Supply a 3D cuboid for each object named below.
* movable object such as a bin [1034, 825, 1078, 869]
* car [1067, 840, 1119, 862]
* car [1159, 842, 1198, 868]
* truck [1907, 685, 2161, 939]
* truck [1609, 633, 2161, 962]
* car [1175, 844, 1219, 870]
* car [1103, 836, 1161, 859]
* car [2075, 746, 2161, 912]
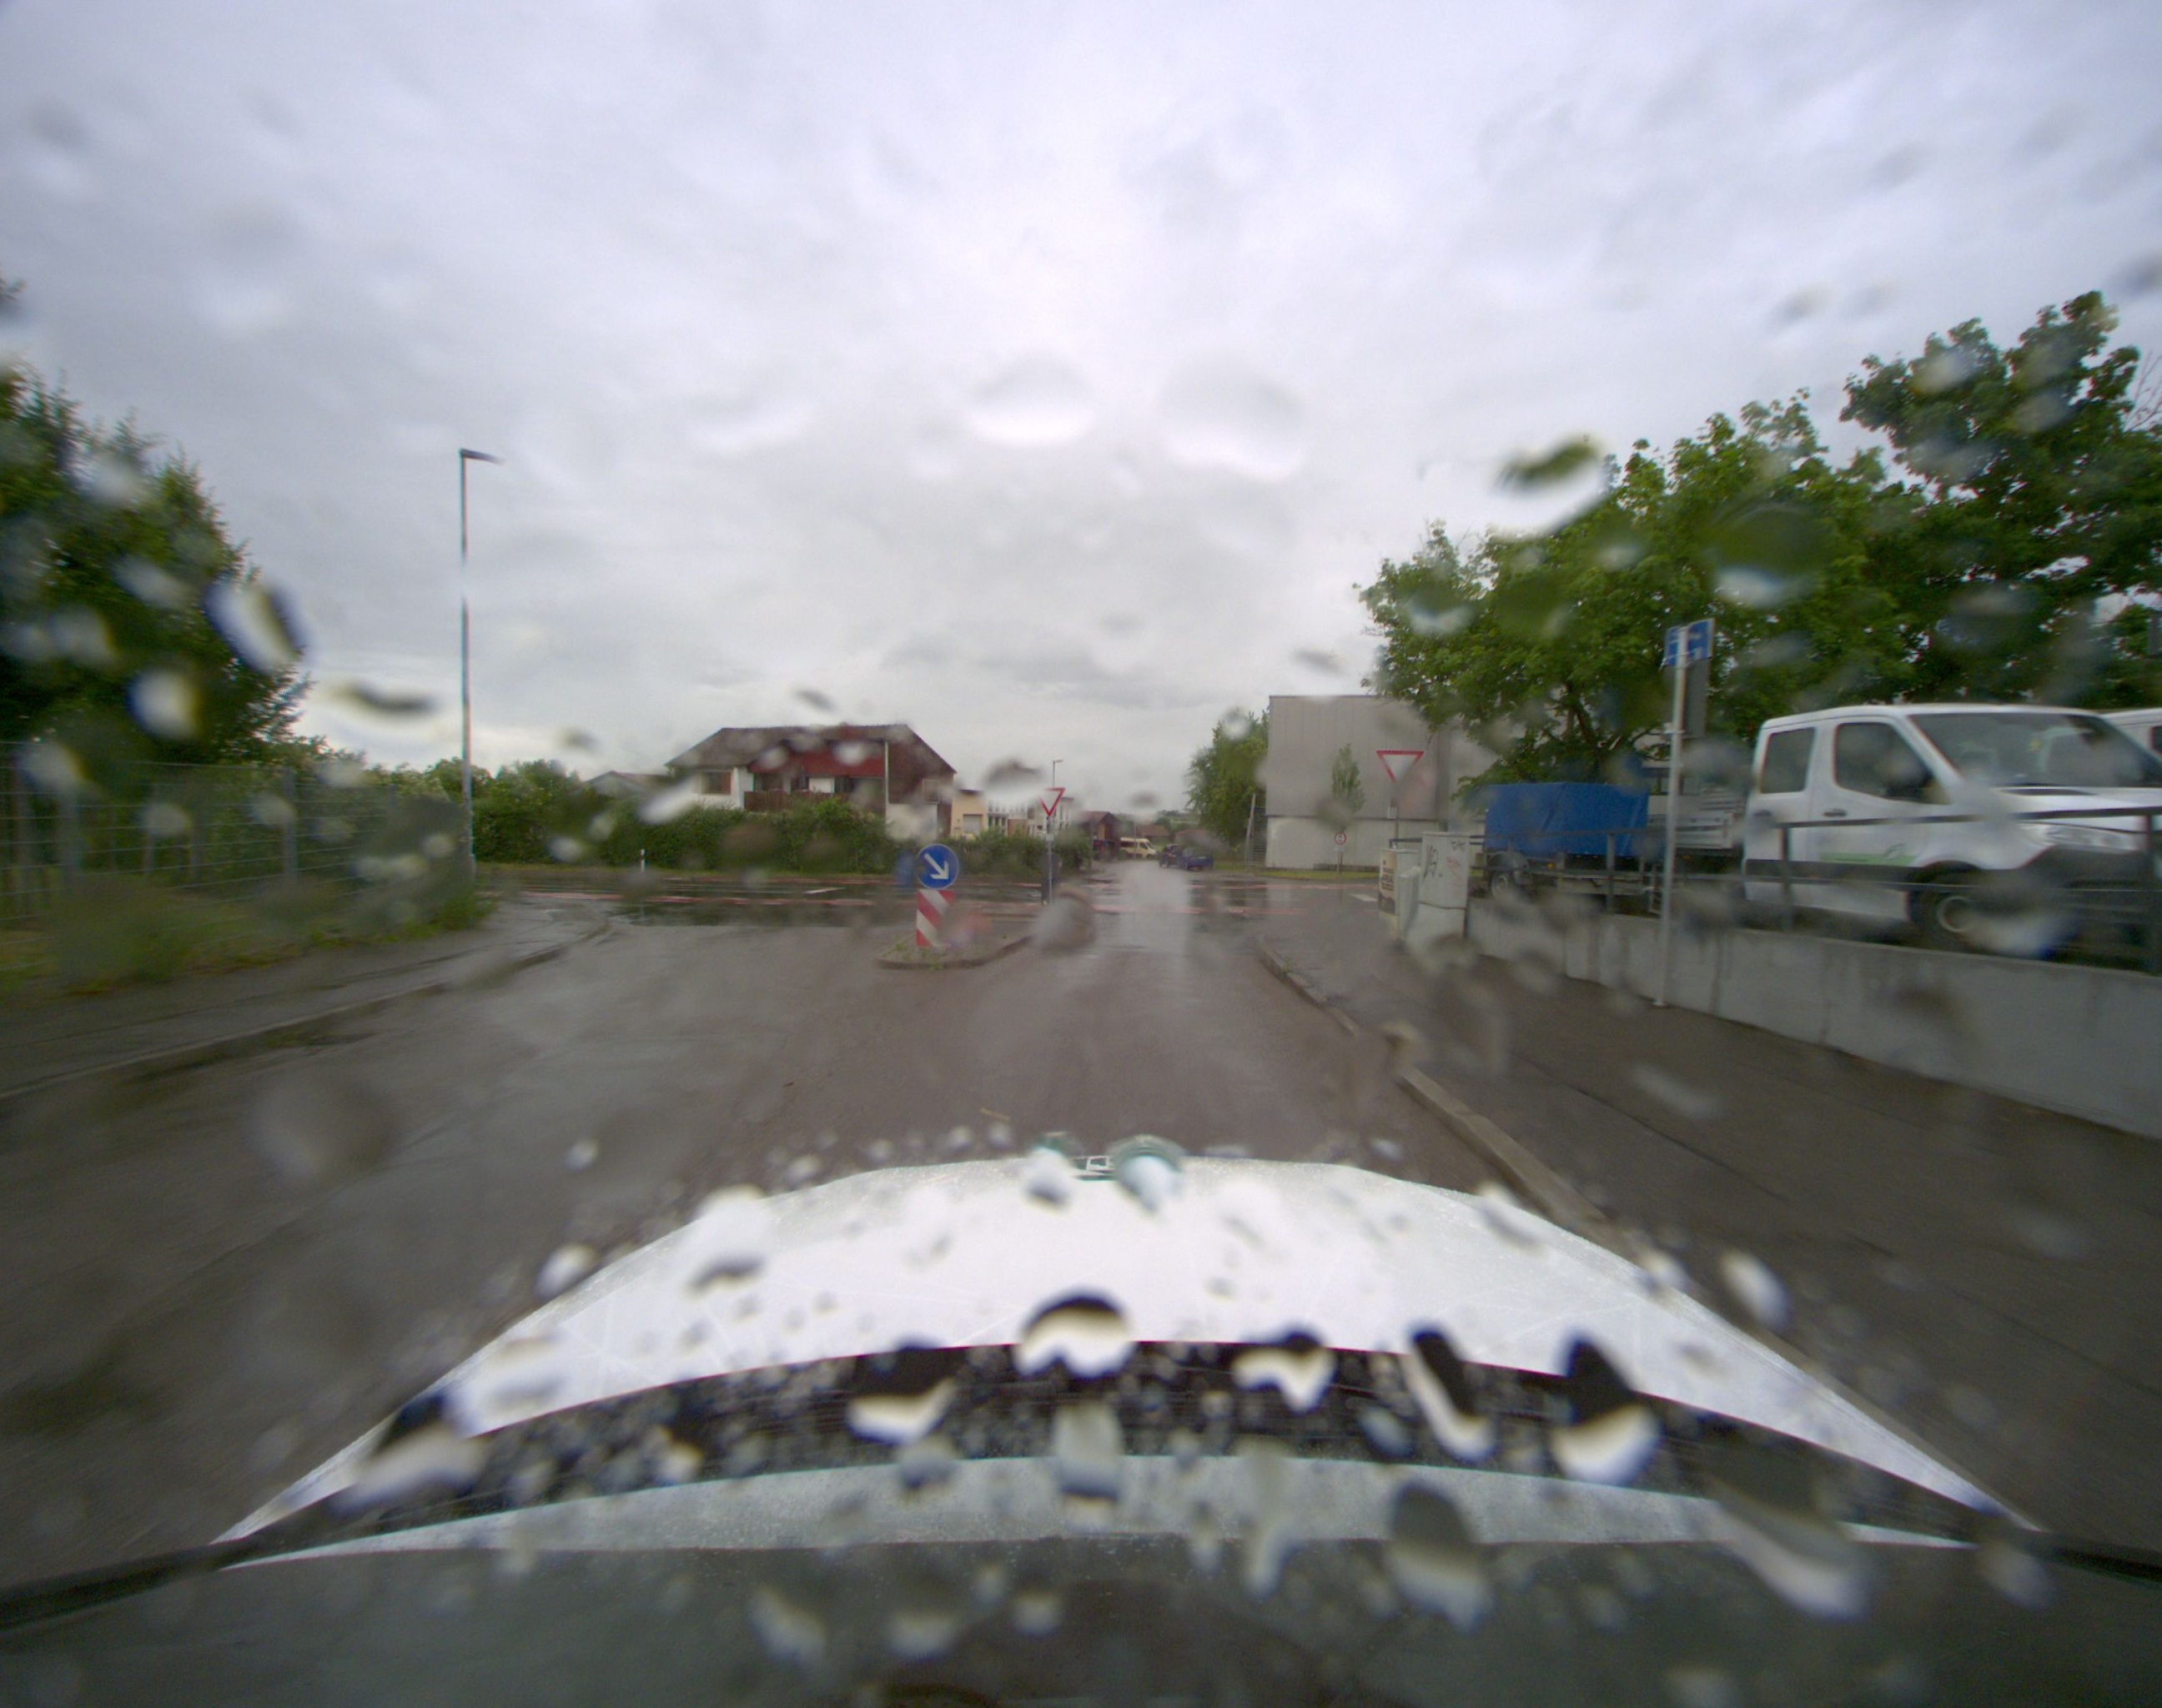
[{"bbox_3d":[-1.468,-0.435,48.958,1.720,2.556,3.353,1,0,15],"label":"movable object such as a bin"},{"bbox_3d":[1.033,-0.283,72.252,4.355,1.905,2.012,1,0,43],"label":"car"},{"bbox_3d":[7.196,0.035,60.600,2.070,1.835,4.465,1,0,-4],"label":"car"},{"bbox_3d":[11.090,-0.373,7.571,2.231,2.342,4.845,1,0,6],"label":"truck"},{"bbox_3d":[8.124,-0.381,8.274,2.097,2.214,5.657,1,0,3],"label":"truck"},{"bbox_3d":[7.701,0.183,54.439,1.948,1.610,4.439,1,0,-5],"label":"car"},{"bbox_3d":[5.620,-0.736,89.830,5.958,2.415,2.476,1,0,21],"label":"car"},{"bbox_3d":[13.946,-0.286,8.269,2.045,2.013,4.948,1,0,7],"label":"car"}]
